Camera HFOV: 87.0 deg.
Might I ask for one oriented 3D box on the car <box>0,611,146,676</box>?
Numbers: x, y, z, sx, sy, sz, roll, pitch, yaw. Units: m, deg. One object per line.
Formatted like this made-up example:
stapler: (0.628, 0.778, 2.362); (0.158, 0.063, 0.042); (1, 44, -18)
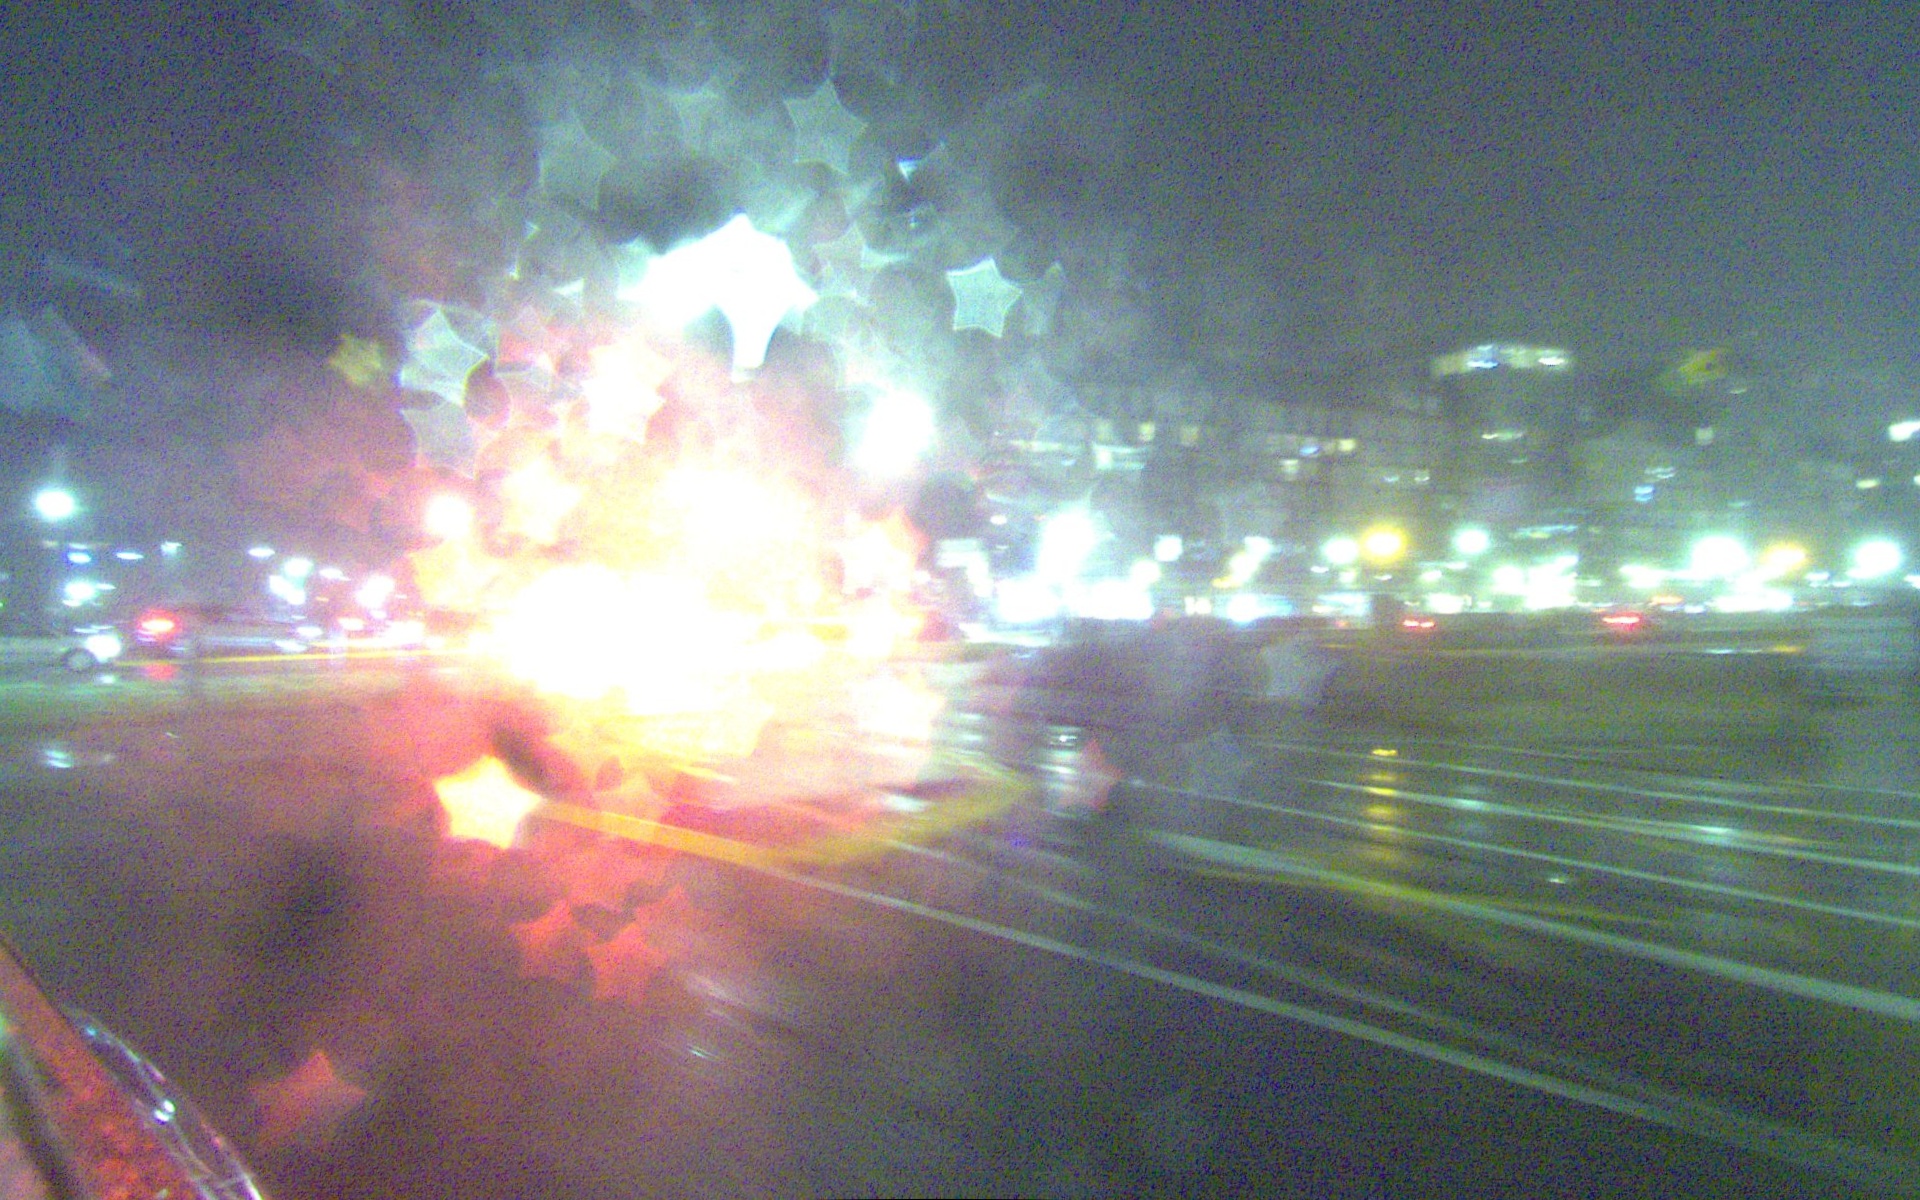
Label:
car: (-22.298, 1.027, 24.038); (4.564, 1.477, 1.651); (0, -2, -37)

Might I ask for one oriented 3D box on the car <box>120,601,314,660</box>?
car: (-22.275, 0.918, 30.472); (1.999, 1.634, 4.370); (-1, -2, 41)

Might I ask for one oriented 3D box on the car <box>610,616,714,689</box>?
car: (-7.500, 1.254, 25.177); (2.034, 1.634, 4.648); (1, -2, -22)

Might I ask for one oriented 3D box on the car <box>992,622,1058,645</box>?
car: (4.683, 2.439, 73.322); (4.355, 1.634, 2.006); (1, -2, -19)

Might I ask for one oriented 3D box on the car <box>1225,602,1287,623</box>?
car: (23.792, 1.017, 81.373); (4.355, 1.634, 2.006); (1, -2, -19)

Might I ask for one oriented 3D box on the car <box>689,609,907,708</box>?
car: (-2.947, 0.992, 17.626); (1.967, 1.466, 4.313); (5, -4, -36)

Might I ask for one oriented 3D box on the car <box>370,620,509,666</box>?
car: (-18.698, 1.523, 36.559); (1.988, 1.545, 4.151); (-1, -2, 24)

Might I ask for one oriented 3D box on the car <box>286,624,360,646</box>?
car: (-46.143, 2.526, 73.413); (4.121, 1.477, 2.003); (-1, -1, -6)

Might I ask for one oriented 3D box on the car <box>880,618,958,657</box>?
car: (-1.895, 1.763, 48.242); (1.991, 1.788, 3.962); (-2, -2, 28)

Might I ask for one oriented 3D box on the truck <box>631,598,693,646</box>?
truck: (-15.899, 1.226, 54.441); (2.285, 2.415, 7.828); (0, -2, -10)

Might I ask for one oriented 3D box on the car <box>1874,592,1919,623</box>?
car: (50.960, 0.366, 52.796); (1.965, 1.634, 4.410); (-1, -1, -25)

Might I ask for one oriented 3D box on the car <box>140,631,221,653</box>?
car: (-54.922, 2.948, 71.352); (4.121, 1.477, 2.003); (-1, -1, -6)

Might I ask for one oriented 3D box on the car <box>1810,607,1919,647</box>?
car: (45.326, 1.343, 50.140); (2.293, 1.749, 4.328); (3, 0, -26)

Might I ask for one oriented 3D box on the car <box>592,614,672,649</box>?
car: (-15.076, 1.464, 46.705); (1.976, 1.545, 4.177); (0, -2, 6)
